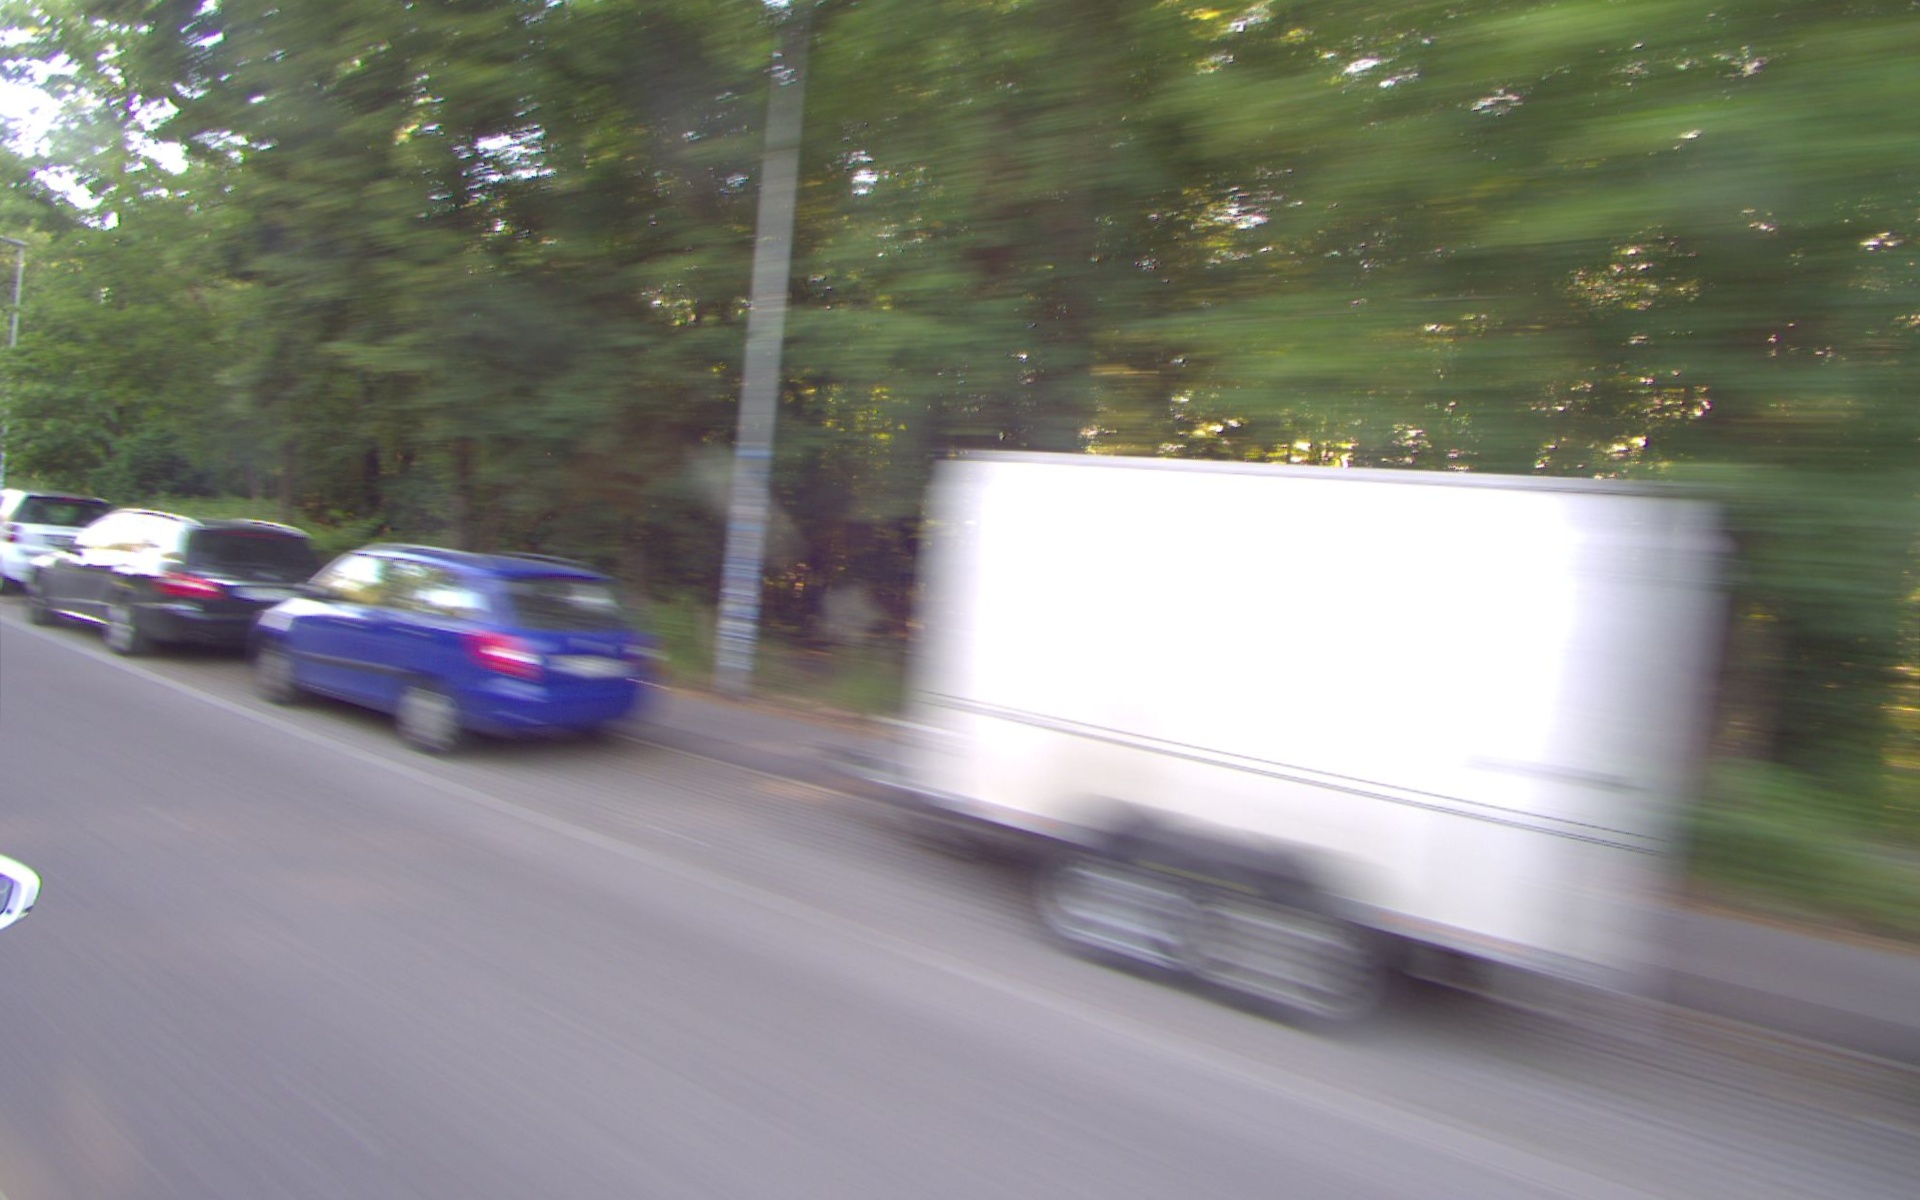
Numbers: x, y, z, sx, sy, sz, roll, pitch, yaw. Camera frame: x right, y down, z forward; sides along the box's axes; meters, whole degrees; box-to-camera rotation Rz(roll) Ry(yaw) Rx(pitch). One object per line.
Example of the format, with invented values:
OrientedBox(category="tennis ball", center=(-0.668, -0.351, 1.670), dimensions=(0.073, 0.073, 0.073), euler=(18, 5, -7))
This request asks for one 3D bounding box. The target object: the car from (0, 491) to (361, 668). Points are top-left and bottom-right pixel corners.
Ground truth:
OrientedBox(category="car", center=(-9.238, -0.290, 11.761), dimensions=(4.908, 1.555, 1.760), euler=(6, 0, 33))

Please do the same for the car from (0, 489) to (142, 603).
OrientedBox(category="car", center=(-14.416, -0.899, 15.803), dimensions=(3.130, 1.514, 1.586), euler=(6, 0, 35))

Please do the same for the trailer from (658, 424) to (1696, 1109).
OrientedBox(category="trailer", center=(0.847, 0.431, 5.731), dimensions=(5.042, 2.454, 1.905), euler=(6, 1, 32))

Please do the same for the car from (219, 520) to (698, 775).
OrientedBox(category="car", center=(-4.467, 0.285, 8.740), dimensions=(4.282, 1.555, 1.678), euler=(6, 0, 33))
